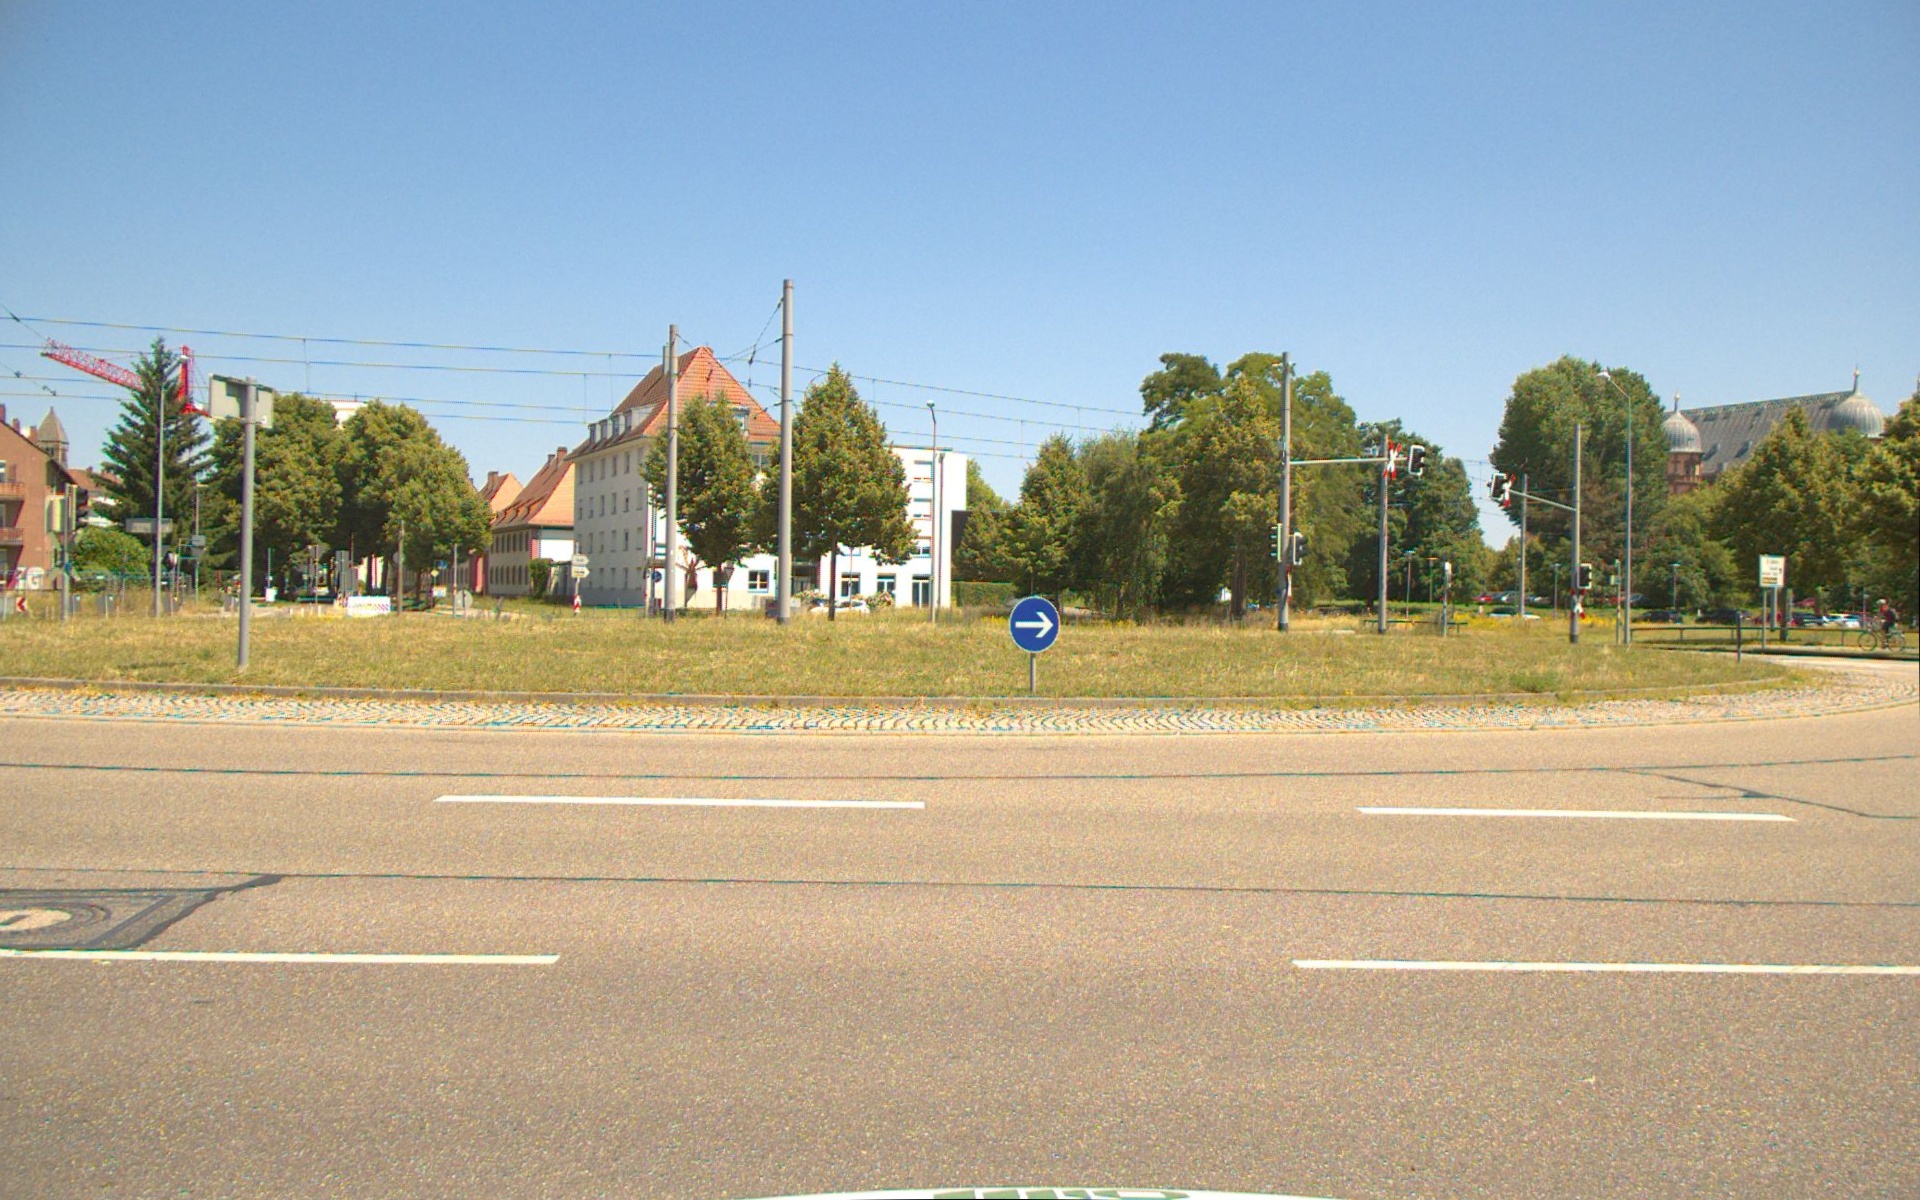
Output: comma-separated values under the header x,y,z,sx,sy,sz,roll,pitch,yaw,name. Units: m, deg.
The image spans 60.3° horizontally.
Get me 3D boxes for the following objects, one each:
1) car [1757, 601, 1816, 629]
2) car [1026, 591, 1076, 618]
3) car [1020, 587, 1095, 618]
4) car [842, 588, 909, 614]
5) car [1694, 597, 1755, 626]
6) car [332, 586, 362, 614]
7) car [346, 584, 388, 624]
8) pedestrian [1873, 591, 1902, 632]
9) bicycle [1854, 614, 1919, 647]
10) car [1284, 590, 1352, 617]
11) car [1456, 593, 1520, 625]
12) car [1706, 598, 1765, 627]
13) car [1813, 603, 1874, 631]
x,y,z,sx,sy,sz,roll,pitch,yaw,name
64.807,1.146,129.642,3.916,2.049,1.995,2,-1,32,car
7.521,0.361,136.780,3.902,2.049,2.001,2,-1,8,car
5.783,0.140,98.295,3.927,1.713,1.989,2,-1,-19,car
-5.238,0.062,102.823,3.830,1.445,1.706,2,-1,-20,car
57.614,0.838,124.681,3.916,2.049,1.995,2,-1,32,car
-46.842,-0.034,126.405,1.964,2.049,3.977,2,-1,-19,car
-31.523,0.208,87.981,1.964,2.049,3.977,2,-1,-19,car
34.486,0.431,61.485,0.803,1.476,0.705,1,-1,42,pedestrian
34.459,1.124,61.507,2.022,1.134,0.725,2,-1,42,bicycle
23.500,0.255,108.576,3.912,1.601,1.996,2,-1,29,car
37.192,0.630,116.454,3.916,2.049,1.995,2,-1,32,car
60.483,0.981,128.959,3.916,2.049,1.995,2,-1,32,car
70.143,1.357,131.375,3.926,2.049,1.990,2,-1,40,car
